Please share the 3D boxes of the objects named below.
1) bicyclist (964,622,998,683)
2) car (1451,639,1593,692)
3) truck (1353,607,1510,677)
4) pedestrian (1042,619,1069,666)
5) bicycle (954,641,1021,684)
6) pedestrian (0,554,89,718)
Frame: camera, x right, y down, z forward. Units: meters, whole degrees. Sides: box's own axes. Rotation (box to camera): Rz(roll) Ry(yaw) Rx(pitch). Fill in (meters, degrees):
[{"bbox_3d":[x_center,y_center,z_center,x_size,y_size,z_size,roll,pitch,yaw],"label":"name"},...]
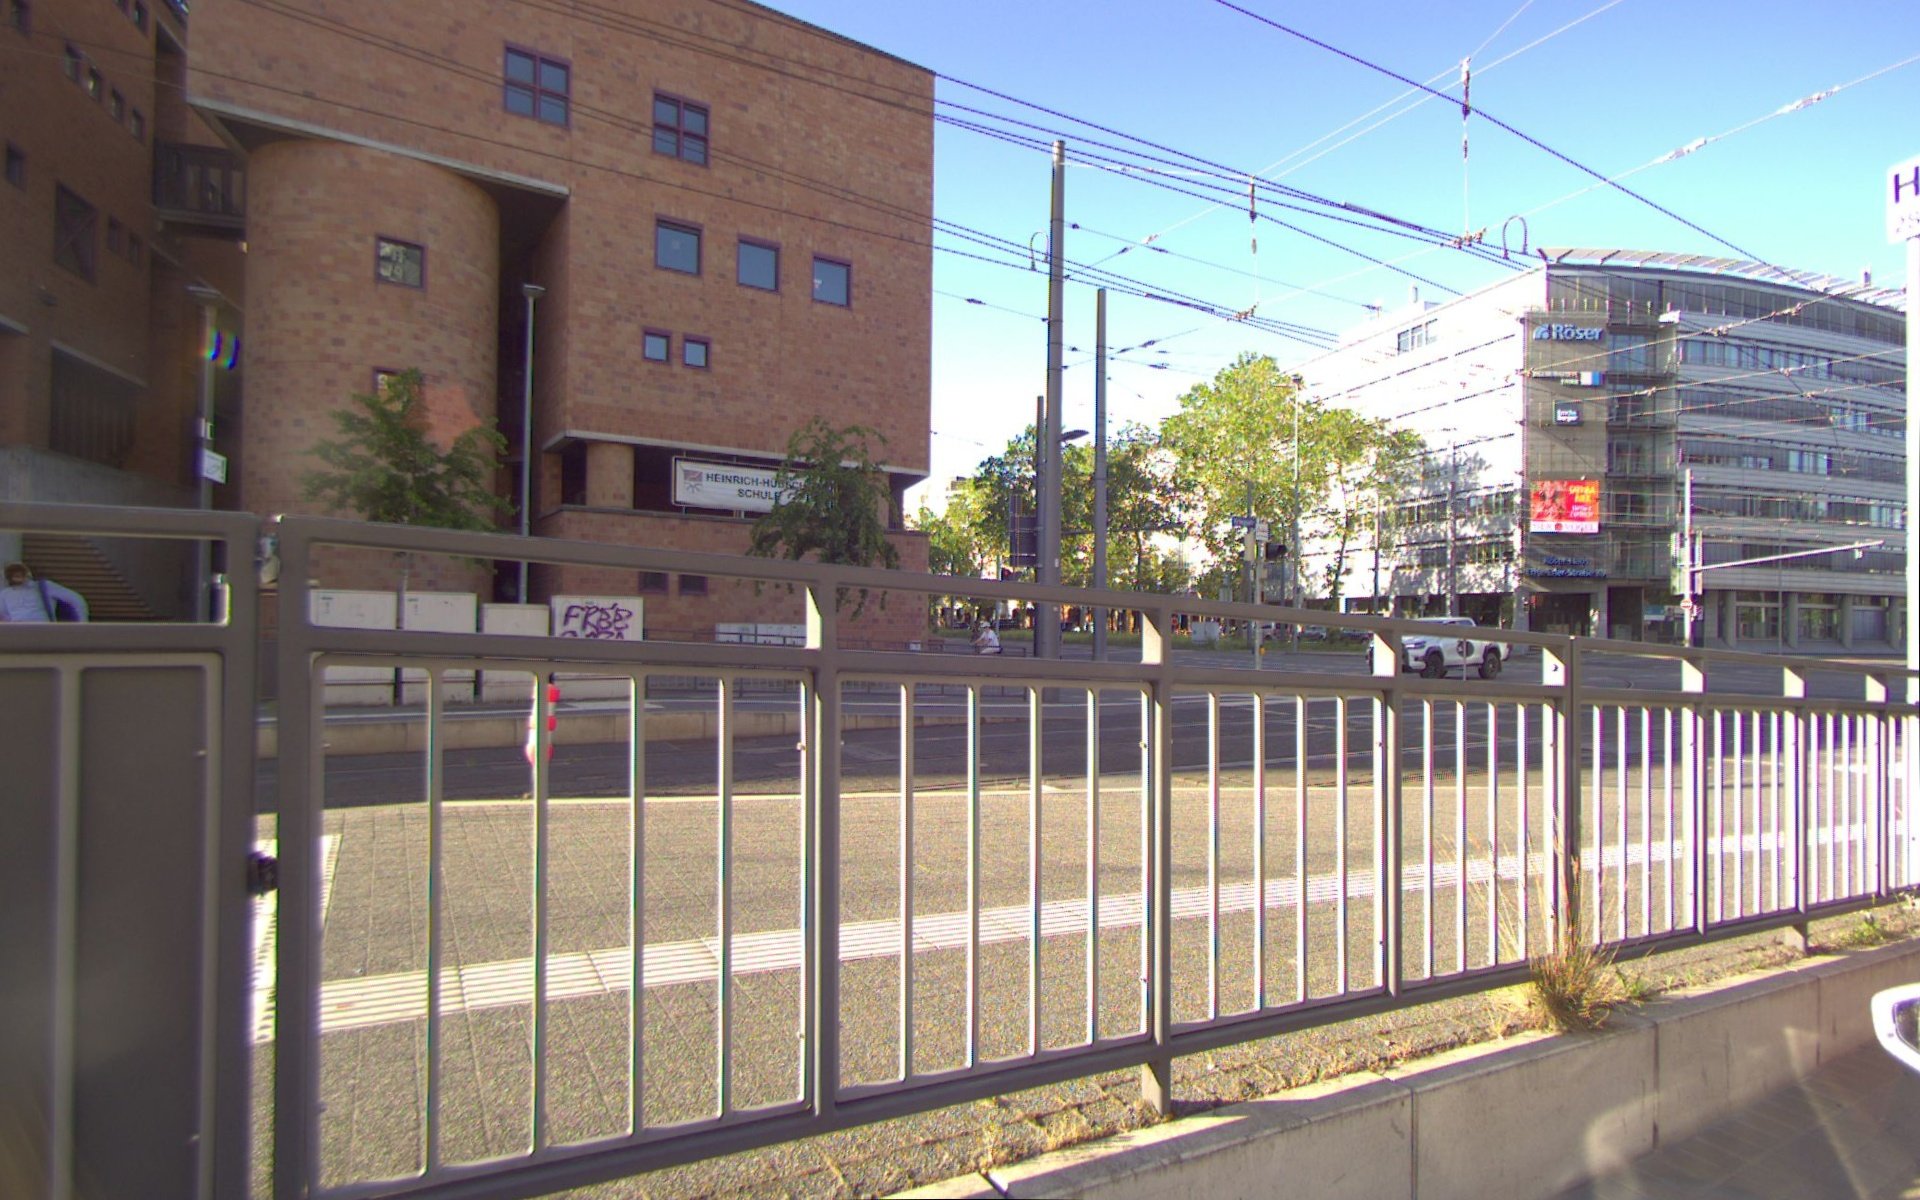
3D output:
[{"bbox_3d":[0.554,1.374,26.497,0.642,1.554,0.584,2,0,-30],"label":"bicyclist"},{"bbox_3d":[13.639,1.559,24.430,2.841,1.077,1.238,2,0,40],"label":"car"},{"bbox_3d":[13.931,1.298,29.581,5.106,1.904,1.980,3,-4,-36],"label":"truck"},{"bbox_3d":[3.596,1.602,37.918,0.785,1.714,0.587,2,0,-29],"label":"pedestrian"},{"bbox_3d":[0.735,1.652,26.575,1.793,1.104,0.458,2,-3,-30],"label":"bicycle"},{"bbox_3d":[-9.666,0.368,10.533,0.679,1.656,0.662,2,0,-34],"label":"pedestrian"}]
